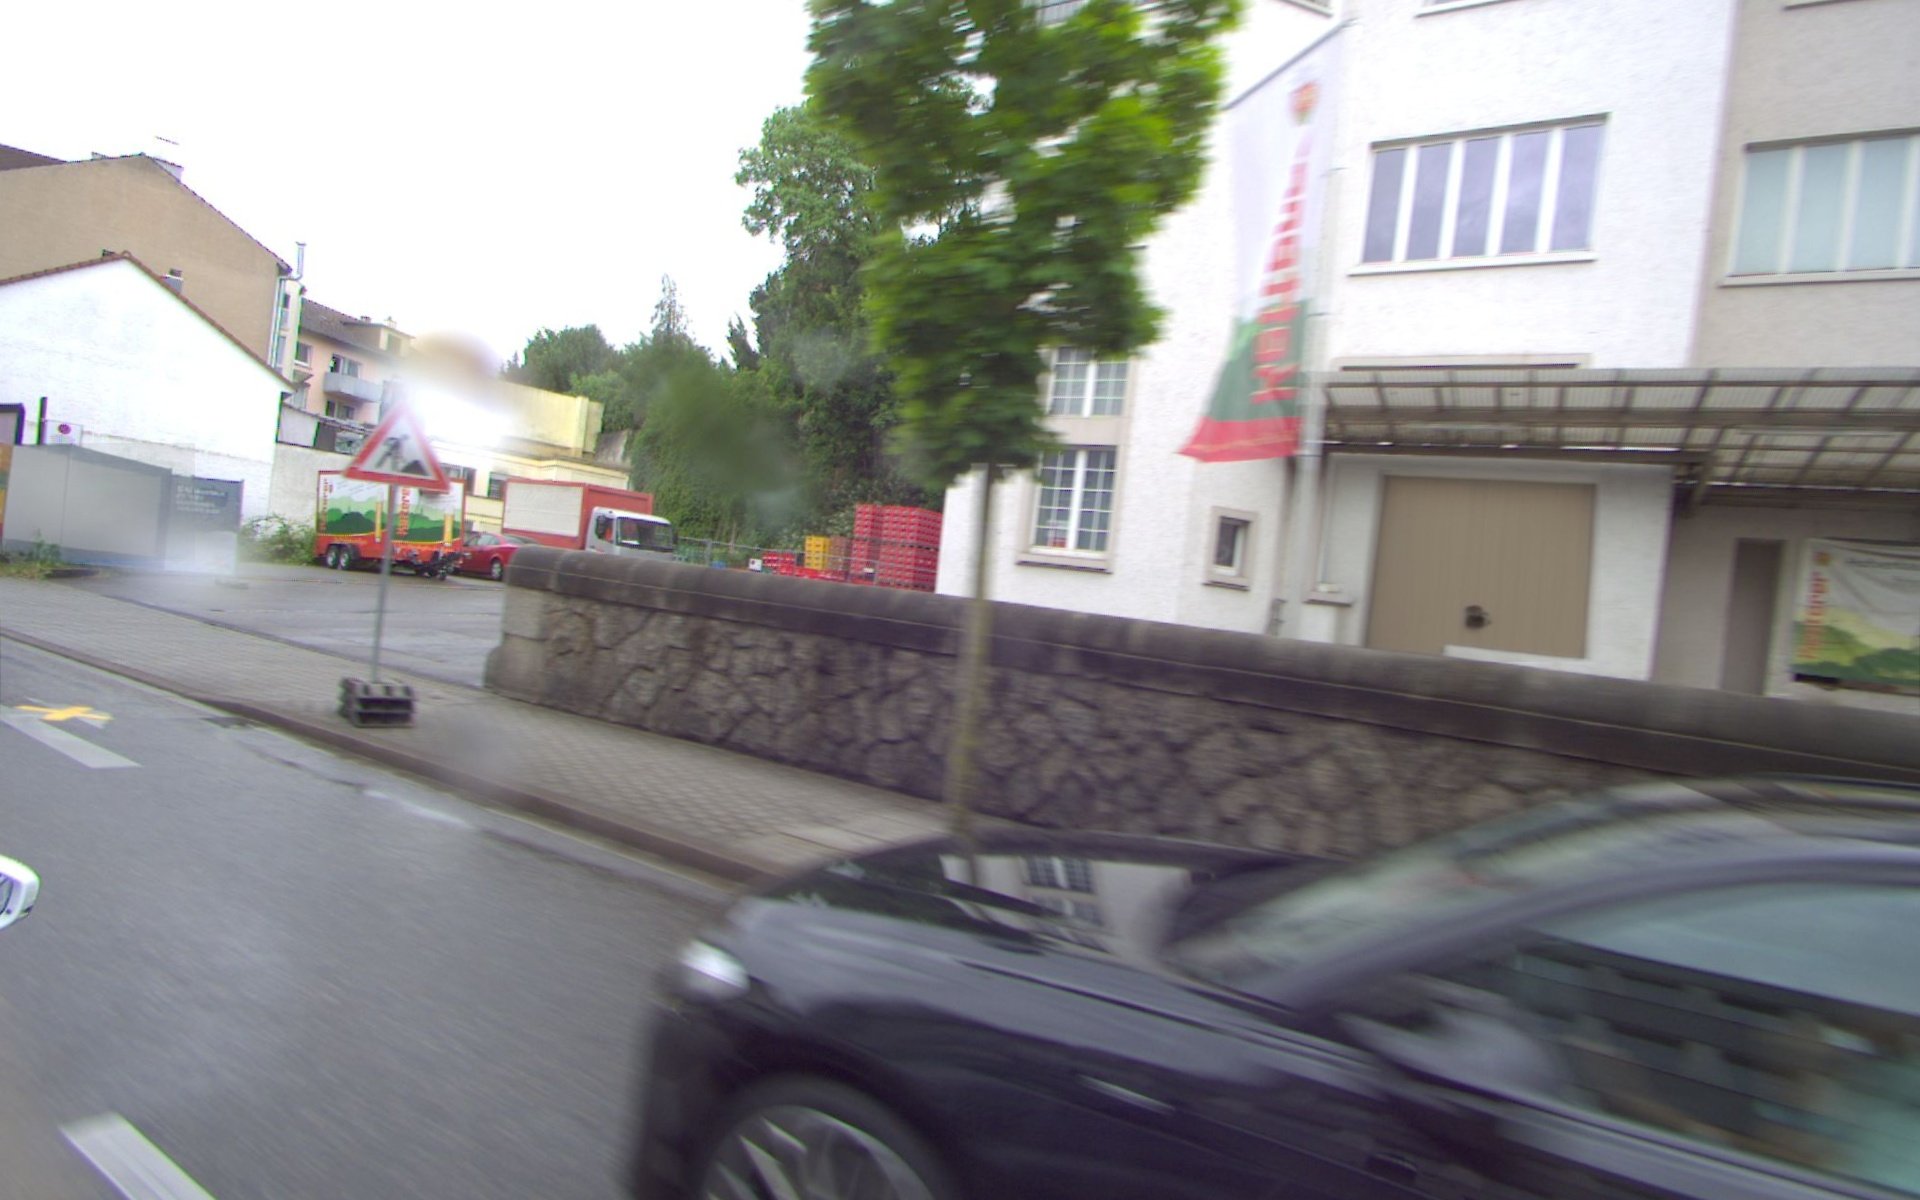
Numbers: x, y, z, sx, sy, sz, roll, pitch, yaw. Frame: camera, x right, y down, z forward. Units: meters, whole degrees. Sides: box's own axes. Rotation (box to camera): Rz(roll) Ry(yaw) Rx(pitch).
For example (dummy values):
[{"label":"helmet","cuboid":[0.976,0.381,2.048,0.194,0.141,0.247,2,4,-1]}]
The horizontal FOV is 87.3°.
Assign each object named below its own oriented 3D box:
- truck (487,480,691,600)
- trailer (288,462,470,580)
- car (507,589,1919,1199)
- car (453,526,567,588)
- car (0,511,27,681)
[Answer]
[{"label":"truck","cuboid":[-12.011,-1.974,32.273,6.822,3.257,2.630,6,1,36]},{"label":"trailer","cuboid":[-16.069,-2.204,27.720,5.304,2.752,2.126,7,2,34]},{"label":"car","cuboid":[1.466,0.955,1.748,4.556,1.420,1.791,6,0,32]},{"label":"car","cuboid":[-13.366,-1.280,29.830,3.214,1.475,1.589,6,0,36]},{"label":"car","cuboid":[-10.058,-0.316,8.812,3.802,1.412,1.669,8,-2,31]}]
